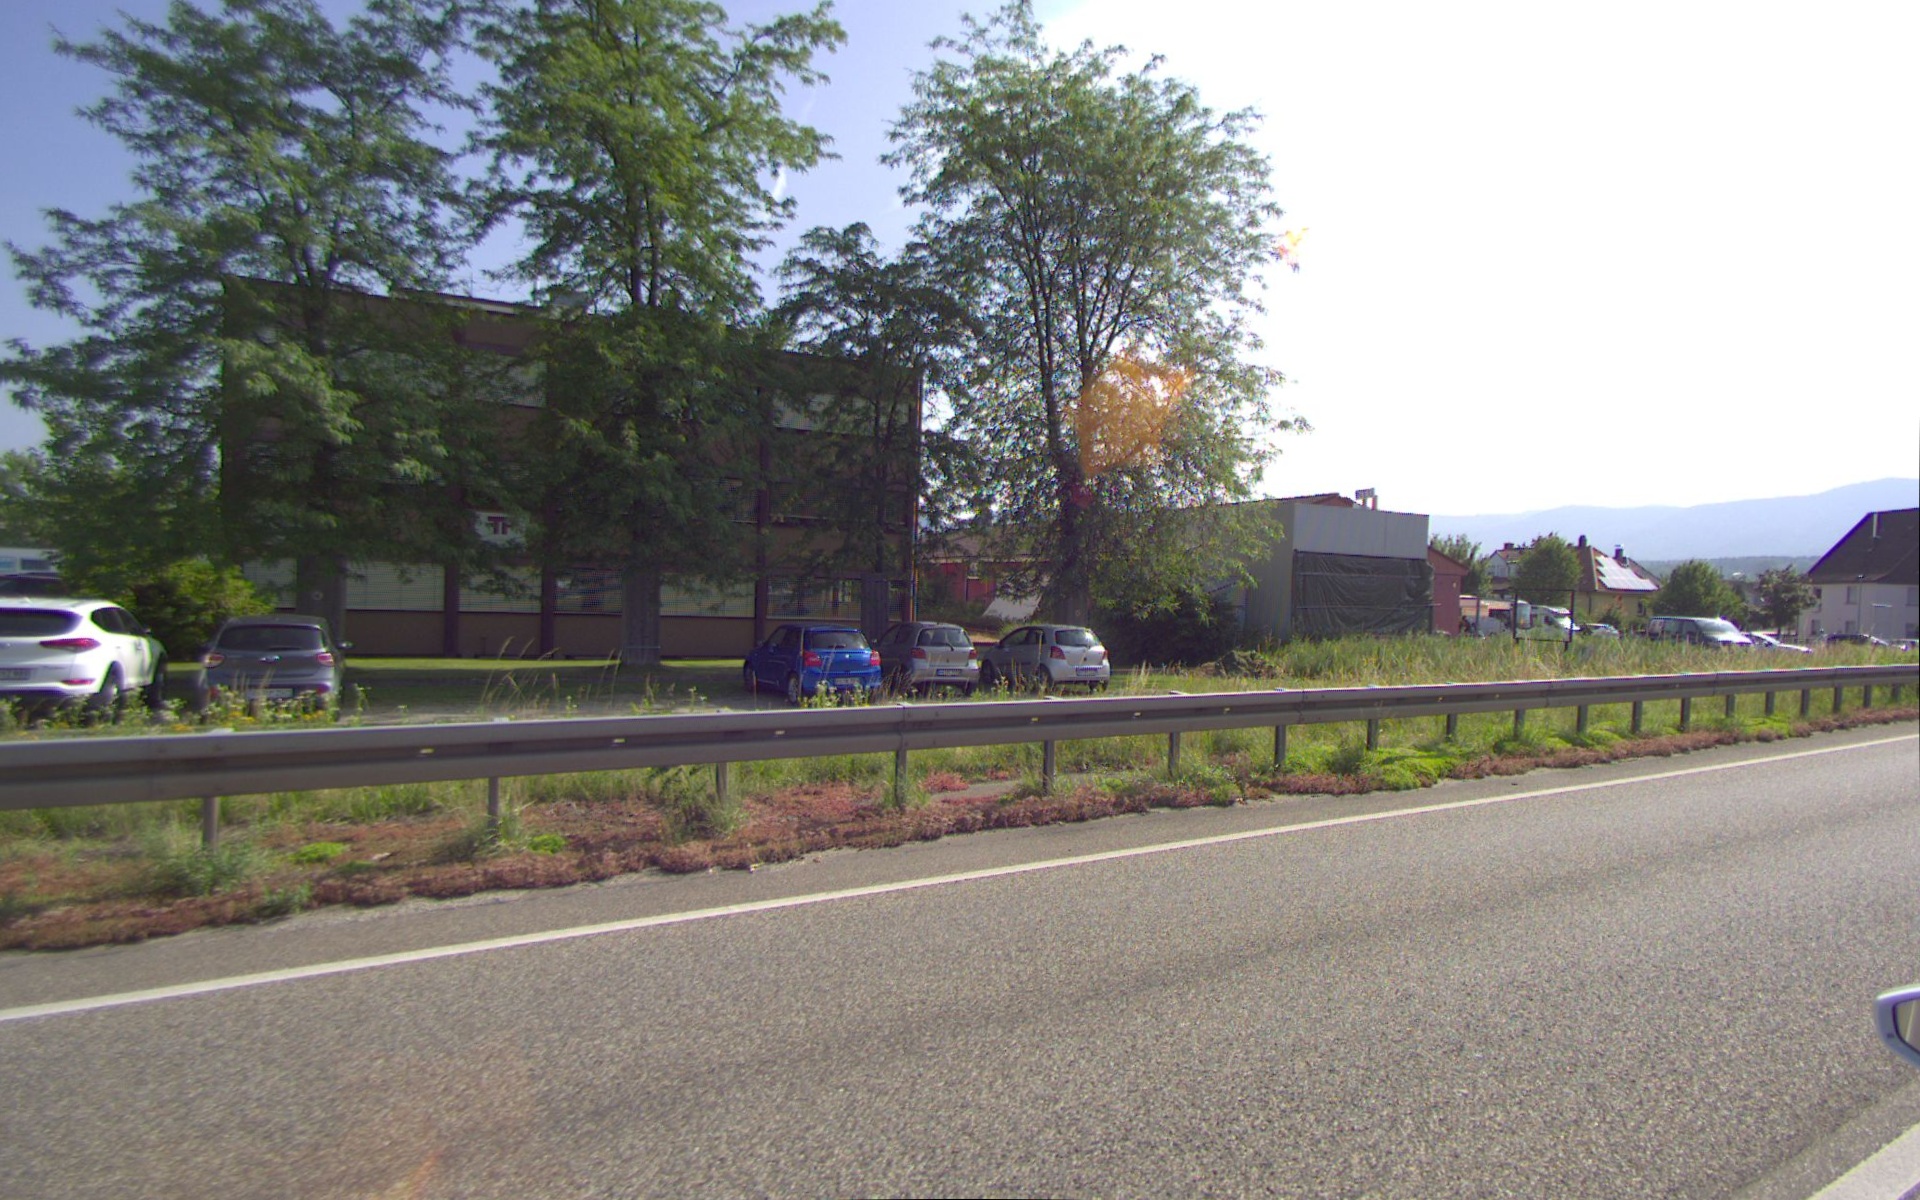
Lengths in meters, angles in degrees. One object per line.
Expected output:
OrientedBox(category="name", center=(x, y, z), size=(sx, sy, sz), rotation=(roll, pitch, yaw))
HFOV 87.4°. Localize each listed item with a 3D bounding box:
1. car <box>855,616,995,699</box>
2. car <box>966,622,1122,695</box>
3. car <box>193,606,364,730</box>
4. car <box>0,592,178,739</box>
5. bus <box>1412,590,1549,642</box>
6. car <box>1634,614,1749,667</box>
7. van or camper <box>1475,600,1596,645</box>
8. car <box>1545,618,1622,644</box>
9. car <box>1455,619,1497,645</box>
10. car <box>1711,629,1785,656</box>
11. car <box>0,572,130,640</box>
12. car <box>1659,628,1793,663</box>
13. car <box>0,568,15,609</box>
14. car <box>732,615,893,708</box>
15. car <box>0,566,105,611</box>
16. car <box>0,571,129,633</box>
OrientedBox(category="car", center=(-0.865, 1.208, 22.185), size=(1.832, 1.519, 3.737), rotation=(2, 1, -24))
OrientedBox(category="car", center=(1.888, 1.311, 23.627), size=(1.840, 1.479, 3.728), rotation=(2, -1, -31))
OrientedBox(category="car", center=(-10.306, 0.928, 15.368), size=(1.911, 1.519, 3.726), rotation=(2, 1, -32))
OrientedBox(category="car", center=(-12.466, 0.791, 14.081), size=(1.911, 1.677, 4.325), rotation=(2, 1, -32))
OrientedBox(category="bus", center=(37.801, 1.075, 73.389), size=(2.630, 3.400, 9.066), rotation=(-1, 2, -26))
OrientedBox(category="car", center=(30.977, 1.649, 42.756), size=(1.959, 2.040, 4.908), rotation=(1, 0, 10))
OrientedBox(category="van or camper", center=(41.833, 1.603, 73.309), size=(2.711, 2.880, 7.368), rotation=(1, 1, -26))
OrientedBox(category="car", center=(46.130, 2.284, 74.445), size=(1.838, 1.655, 4.541), rotation=(1, 1, -27))
OrientedBox(category="car", center=(23.954, 1.496, 46.654), size=(1.994, 1.161, 0.810), rotation=(3, -1, -32))
OrientedBox(category="car", center=(62.629, 3.372, 79.911), size=(1.836, 1.655, 4.147), rotation=(4, 2, -23))
OrientedBox(category="car", center=(-24.250, 0.118, 25.922), size=(3.946, 1.625, 1.719), rotation=(3, -1, -25))
OrientedBox(category="car", center=(34.816, 2.032, 45.754), size=(1.727, 1.400, 4.581), rotation=(1, 0, -37))
OrientedBox(category="car", center=(-38.821, -0.494, 38.679), size=(1.701, 1.625, 3.989), rotation=(3, -1, -14))
OrientedBox(category="car", center=(-3.029, 1.149, 20.025), size=(1.910, 1.519, 3.728), rotation=(2, 1, -31))
OrientedBox(category="car", center=(-35.852, -0.416, 39.503), size=(1.701, 1.625, 3.989), rotation=(3, -1, -14))
OrientedBox(category="car", center=(-26.120, 0.029, 28.195), size=(3.950, 1.625, 1.718), rotation=(3, -1, -28))
